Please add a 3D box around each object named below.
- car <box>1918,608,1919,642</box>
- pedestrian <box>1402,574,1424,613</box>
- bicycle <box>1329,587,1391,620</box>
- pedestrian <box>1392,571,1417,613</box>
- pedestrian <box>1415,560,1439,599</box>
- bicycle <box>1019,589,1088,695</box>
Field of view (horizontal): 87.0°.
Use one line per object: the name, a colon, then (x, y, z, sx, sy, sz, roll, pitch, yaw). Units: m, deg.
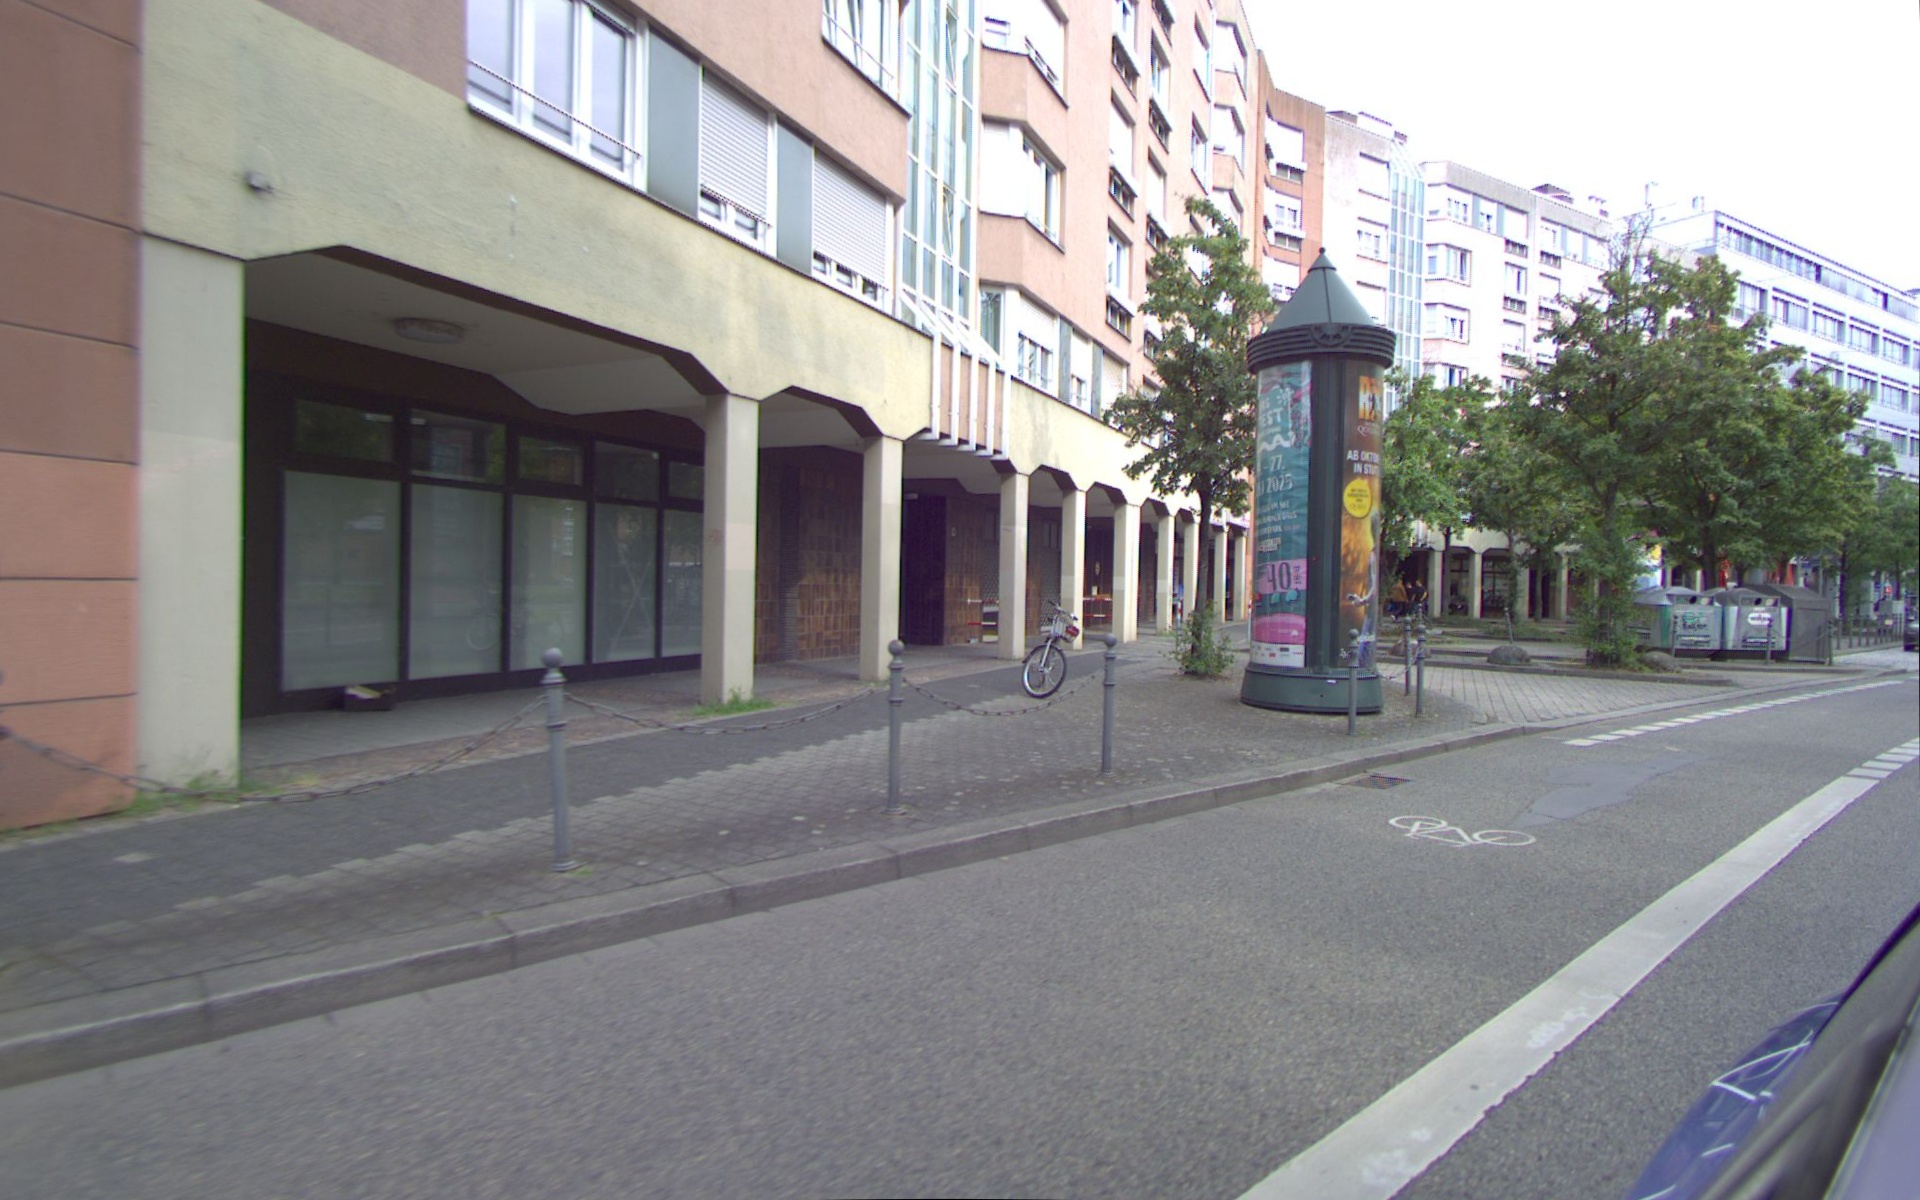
car: (32.181, 0.632, 32.239, 4.582, 1.460, 1.821, 0, 3, -40)
pedestrian: (19.819, -0.296, 44.283, 0.668, 1.683, 0.608, 1, 1, -32)
bicycle: (14.046, 0.115, 35.564, 1.929, 1.126, 0.597, 1, 1, 4)
pedestrian: (18.401, -0.334, 41.912, 0.834, 1.683, 0.535, 1, 1, -30)
pedestrian: (20.176, -0.893, 43.732, 0.668, 1.683, 0.608, 1, 1, -32)
bicycle: (1.113, 0.468, 12.363, 0.658, 1.142, 1.666, 1, 2, 0)
